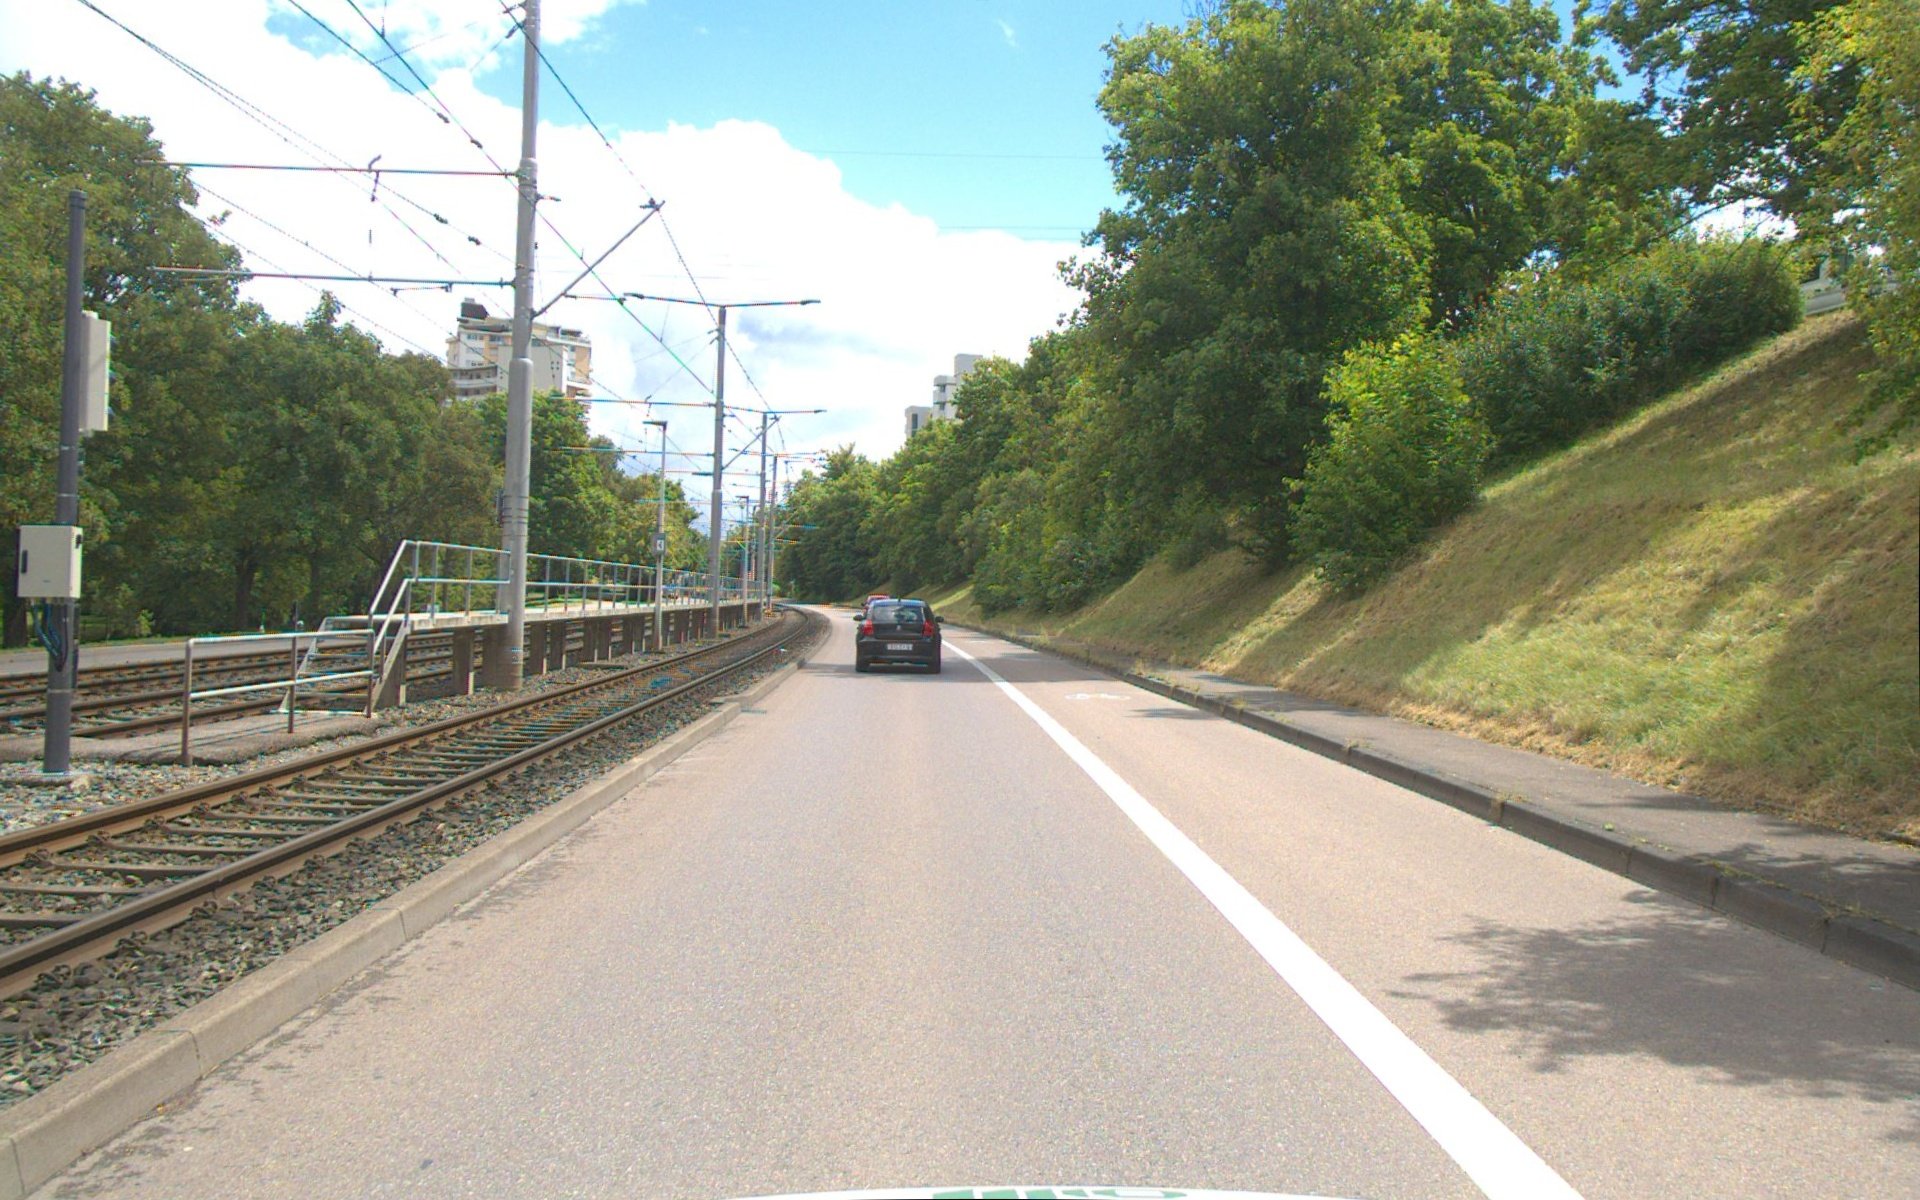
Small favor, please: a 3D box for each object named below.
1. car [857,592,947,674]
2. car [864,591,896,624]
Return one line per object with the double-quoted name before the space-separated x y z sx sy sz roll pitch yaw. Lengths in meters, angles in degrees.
"car" -1.214 0.650 33.803 1.674 1.486 3.958 3 0 -3
"car" -4.173 0.367 86.437 1.592 1.468 3.421 2 3 -3
